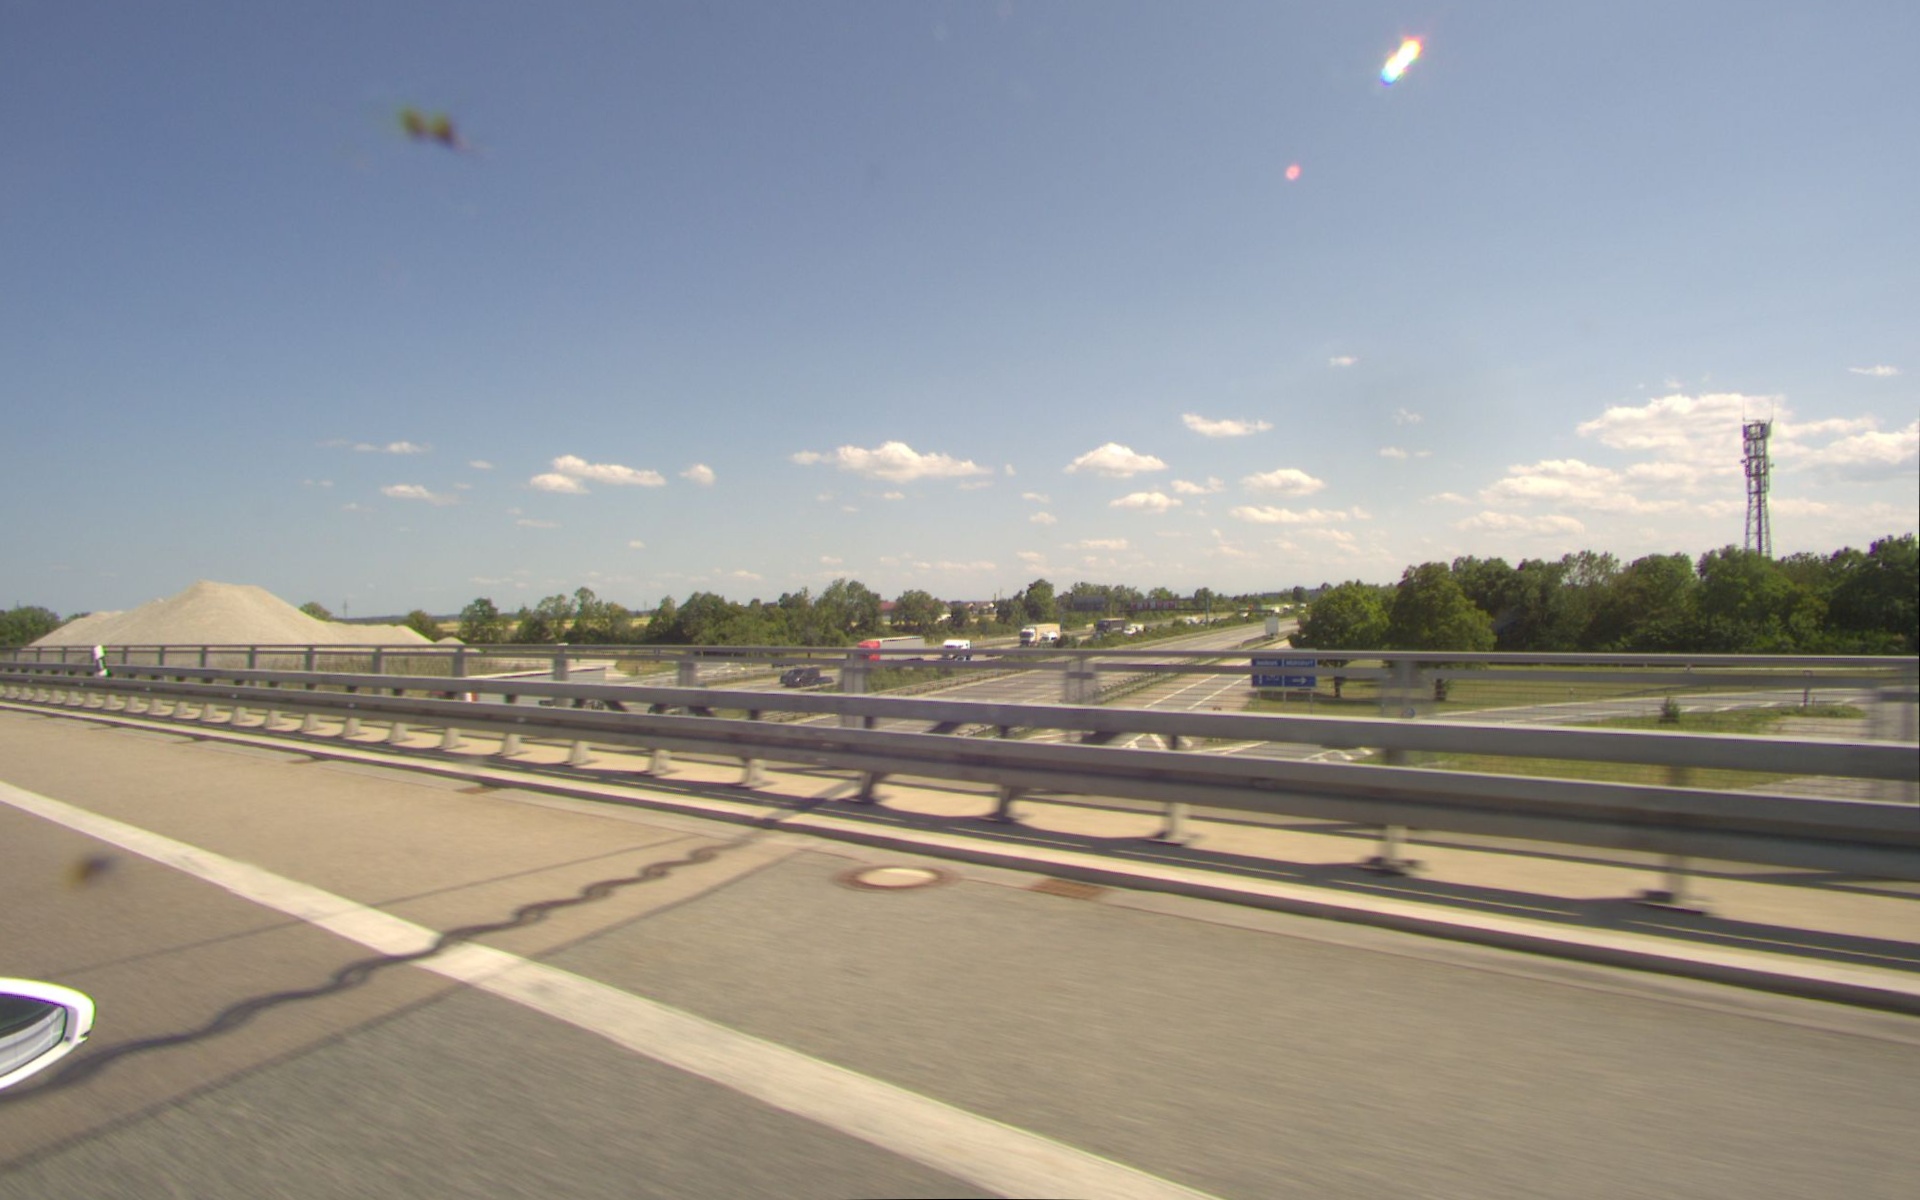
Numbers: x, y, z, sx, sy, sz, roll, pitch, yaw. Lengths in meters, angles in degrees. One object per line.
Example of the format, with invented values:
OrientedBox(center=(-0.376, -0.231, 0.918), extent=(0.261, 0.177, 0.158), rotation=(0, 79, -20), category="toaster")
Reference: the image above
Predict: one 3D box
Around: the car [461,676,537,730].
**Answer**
OrientedBox(center=(-36.821, 8.194, 80.131), extent=(2.443, 4.013, 5.145), rotation=(-1, -3, 26), category="car")

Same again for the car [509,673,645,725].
OrientedBox(center=(-33.177, 8.496, 87.732), extent=(2.443, 4.013, 12.975), rotation=(-1, -3, 26), category="car")

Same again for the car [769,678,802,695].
OrientedBox(center=(-20.849, 10.367, 119.786), extent=(1.830, 1.756, 4.335), rotation=(-1, -2, 23), category="car")

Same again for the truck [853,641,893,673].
OrientedBox(center=(-11.942, 7.786, 137.747), extent=(2.823, 4.118, 5.937), rotation=(-1, 0, 25), category="truck")

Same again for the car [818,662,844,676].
OrientedBox(center=(-18.320, 9.811, 142.585), extent=(1.830, 1.756, 4.335), rotation=(-1, -2, 23), category="car")

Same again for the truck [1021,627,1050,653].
OrientedBox(center=(14.724, 7.775, 194.986), extent=(3.099, 4.835, 8.222), rotation=(-1, -2, 23), category="truck")

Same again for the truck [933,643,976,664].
OrientedBox(center=(-0.797, 8.671, 163.311), extent=(3.100, 3.098, 10.019), rotation=(-1, -2, 25), category="truck")

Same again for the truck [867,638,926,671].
OrientedBox(center=(-8.961, 7.732, 144.114), extent=(2.823, 4.118, 12.534), rotation=(-1, 0, 25), category="truck")

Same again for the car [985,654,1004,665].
OrientedBox(center=(5.797, 9.947, 167.256), extent=(1.830, 1.756, 4.335), rotation=(-1, -2, 23), category="car")
